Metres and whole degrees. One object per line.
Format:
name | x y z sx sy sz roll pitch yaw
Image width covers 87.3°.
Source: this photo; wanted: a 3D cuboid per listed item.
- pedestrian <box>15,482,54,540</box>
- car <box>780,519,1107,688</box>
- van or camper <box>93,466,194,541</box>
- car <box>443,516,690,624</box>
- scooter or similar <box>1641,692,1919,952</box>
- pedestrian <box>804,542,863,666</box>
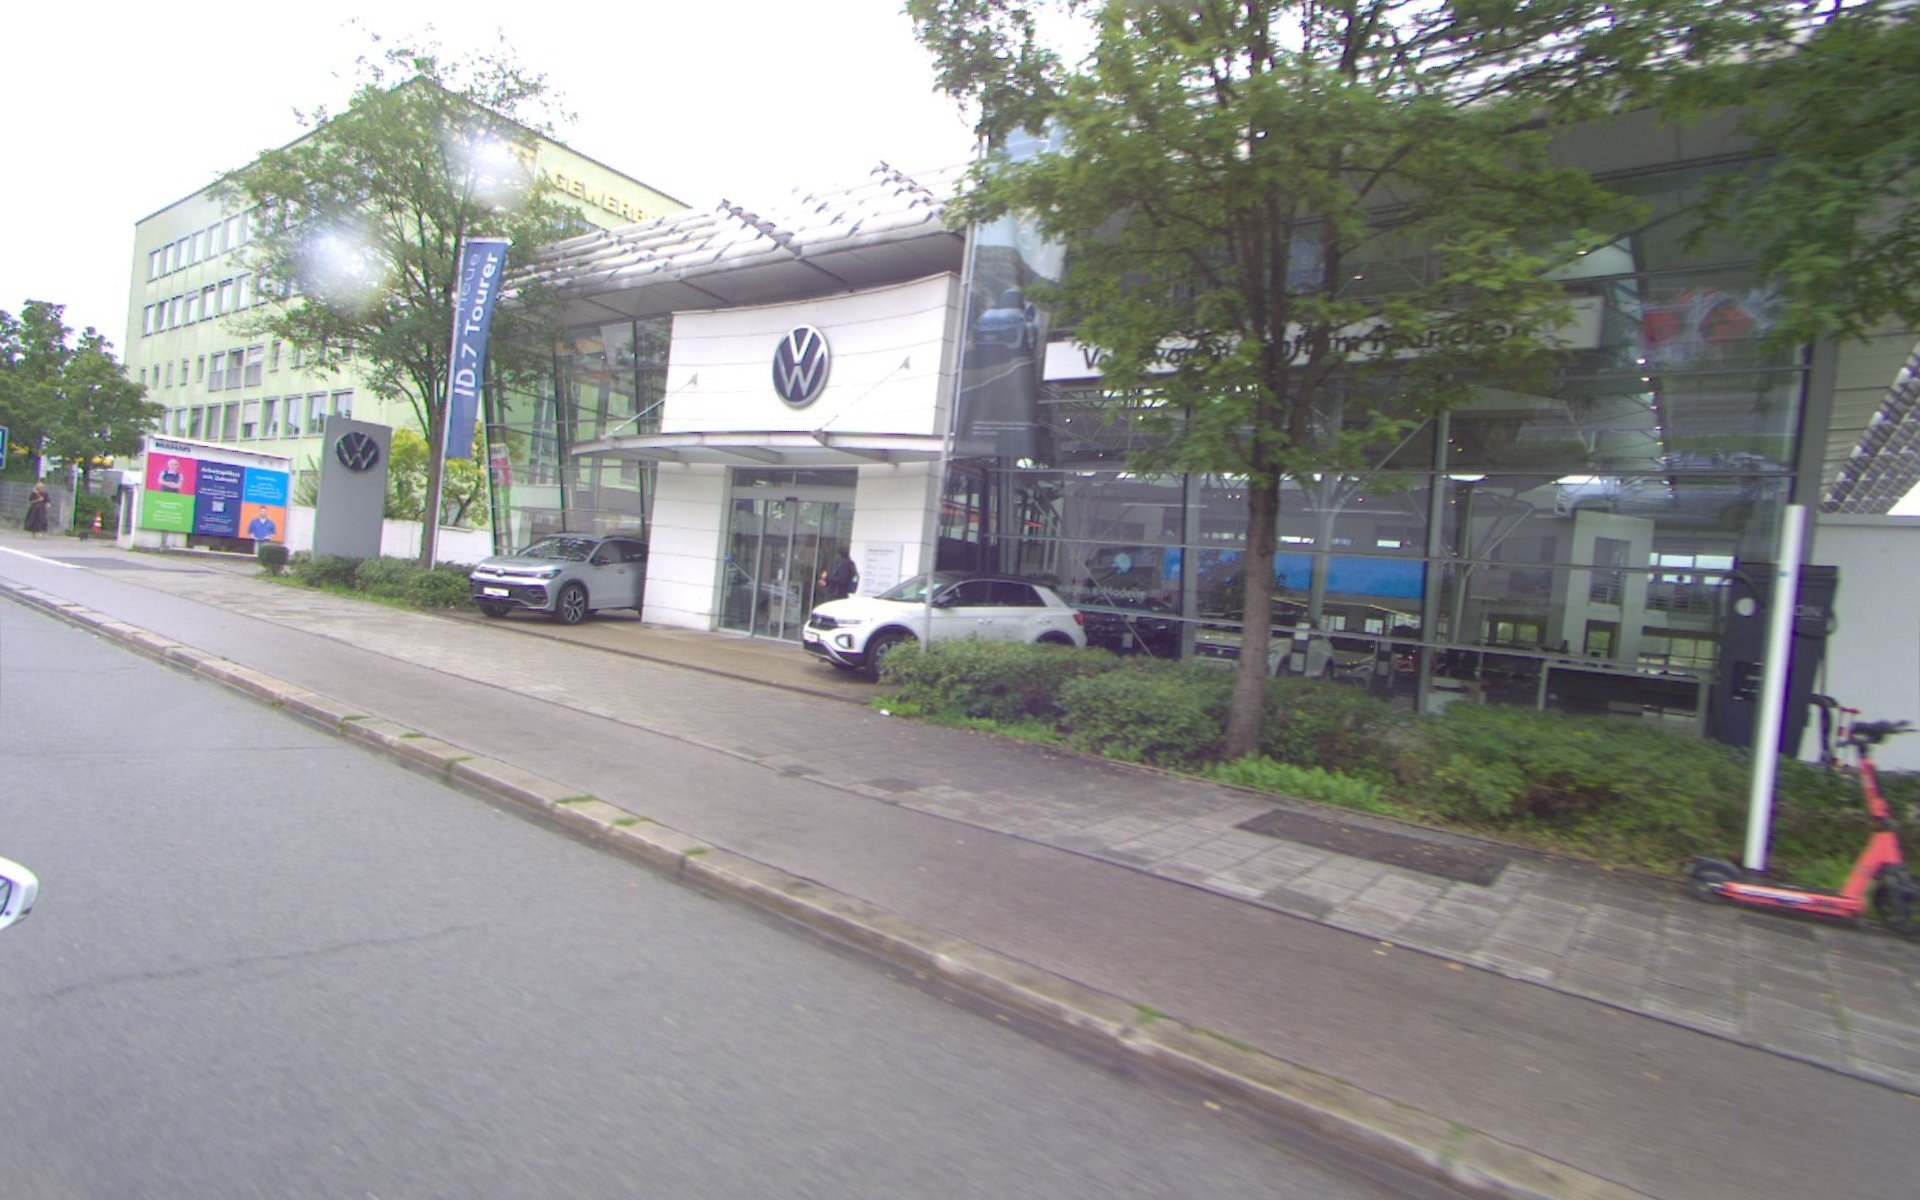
pedestrian | -29.402 -2.815 31.964 0.881 1.753 0.757 7 5 35
car | -0.221 0.087 14.549 4.209 2.040 1.948 4 2 -29
van or camper | -33.392 -3.961 41.046 7.289 2.528 2.120 6 0 43
car | -7.387 -0.509 19.481 1.969 1.729 4.601 5 1 17
scooter or similar | 5.030 1.283 6.059 1.407 1.221 0.495 7 5 35
pedestrian | -1.947 0.063 15.555 0.704 1.799 0.805 6 1 -7
